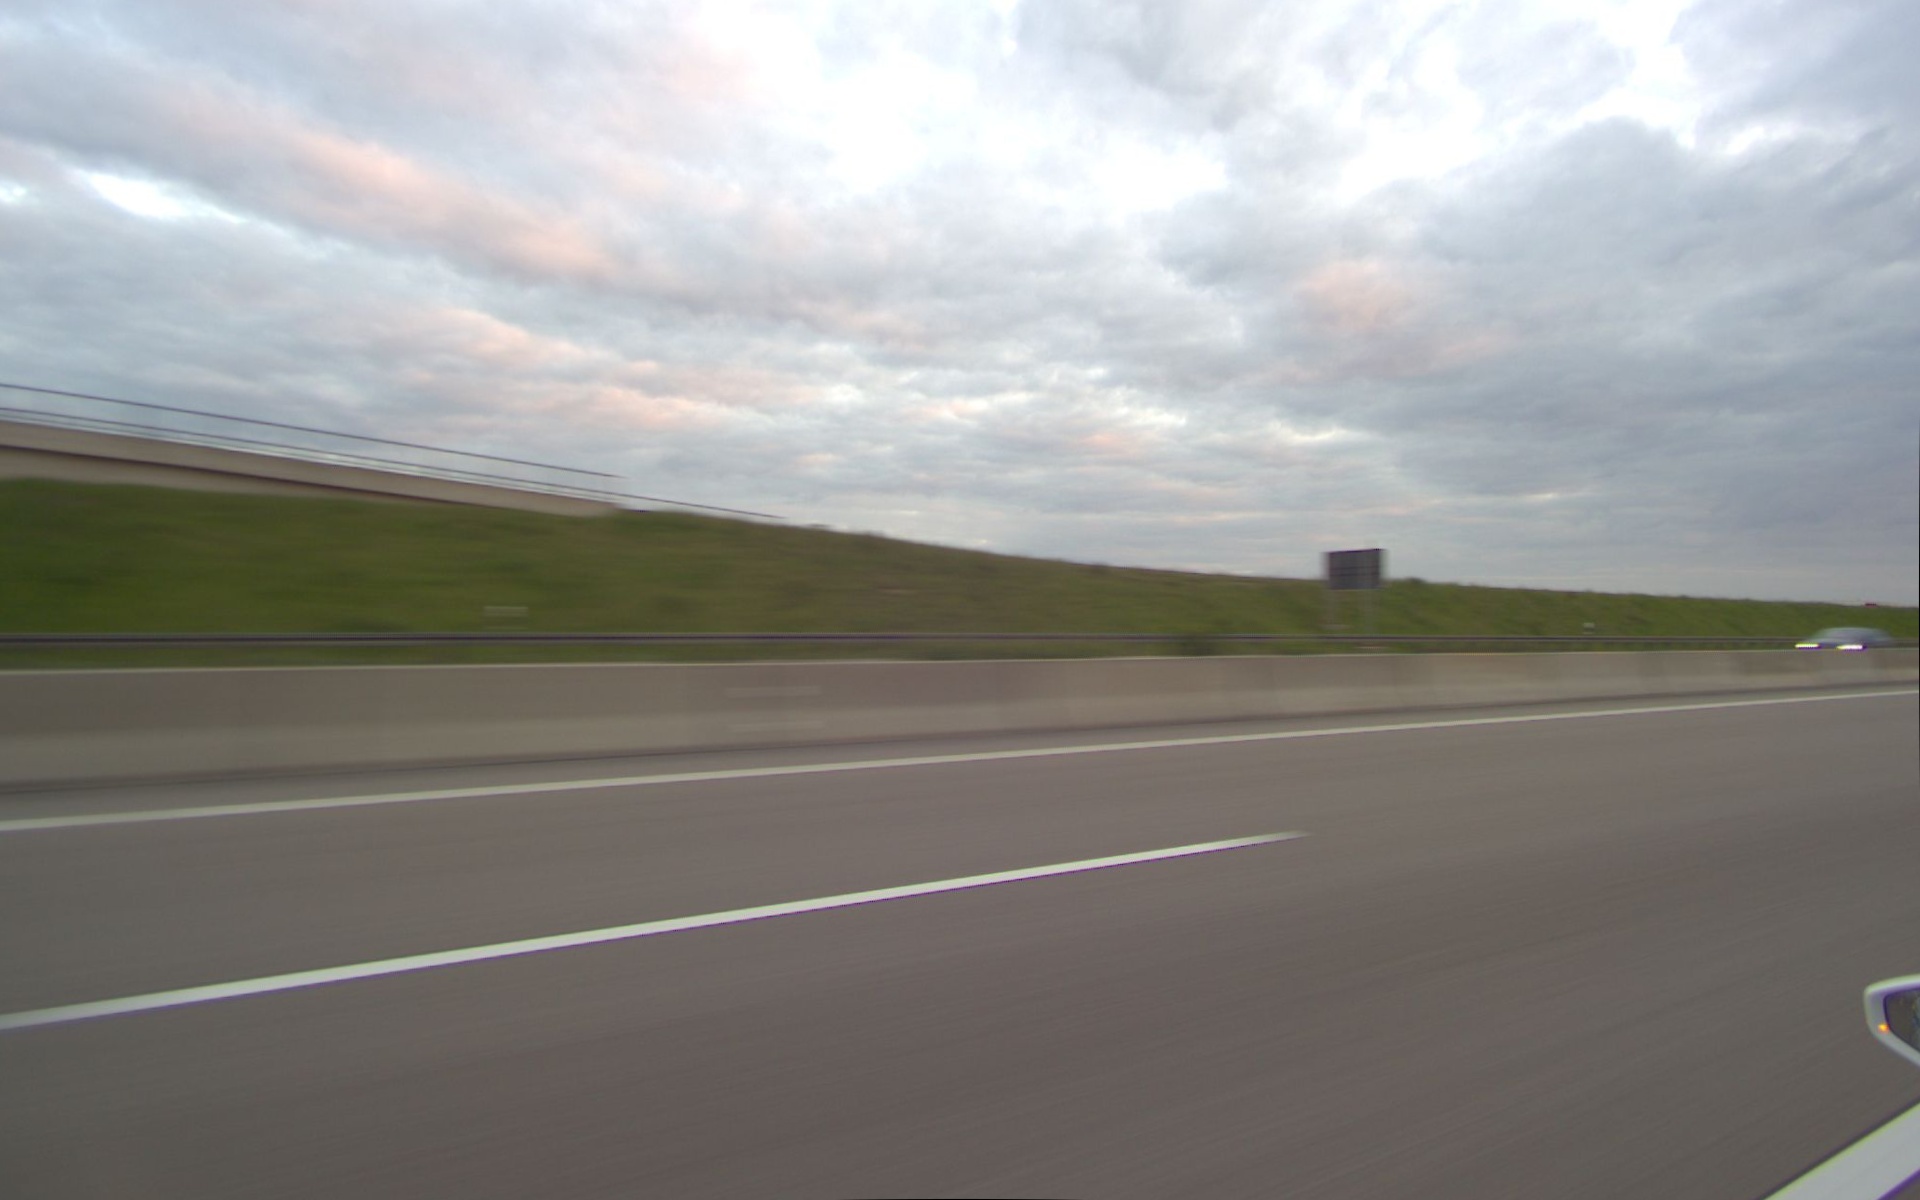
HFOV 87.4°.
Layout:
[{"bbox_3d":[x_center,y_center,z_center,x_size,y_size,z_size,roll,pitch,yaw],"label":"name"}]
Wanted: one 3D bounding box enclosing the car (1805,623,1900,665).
[{"bbox_3d":[39.378,1.922,44.306,4.597,1.685,1.815,1,0,-31],"label":"car"}]
